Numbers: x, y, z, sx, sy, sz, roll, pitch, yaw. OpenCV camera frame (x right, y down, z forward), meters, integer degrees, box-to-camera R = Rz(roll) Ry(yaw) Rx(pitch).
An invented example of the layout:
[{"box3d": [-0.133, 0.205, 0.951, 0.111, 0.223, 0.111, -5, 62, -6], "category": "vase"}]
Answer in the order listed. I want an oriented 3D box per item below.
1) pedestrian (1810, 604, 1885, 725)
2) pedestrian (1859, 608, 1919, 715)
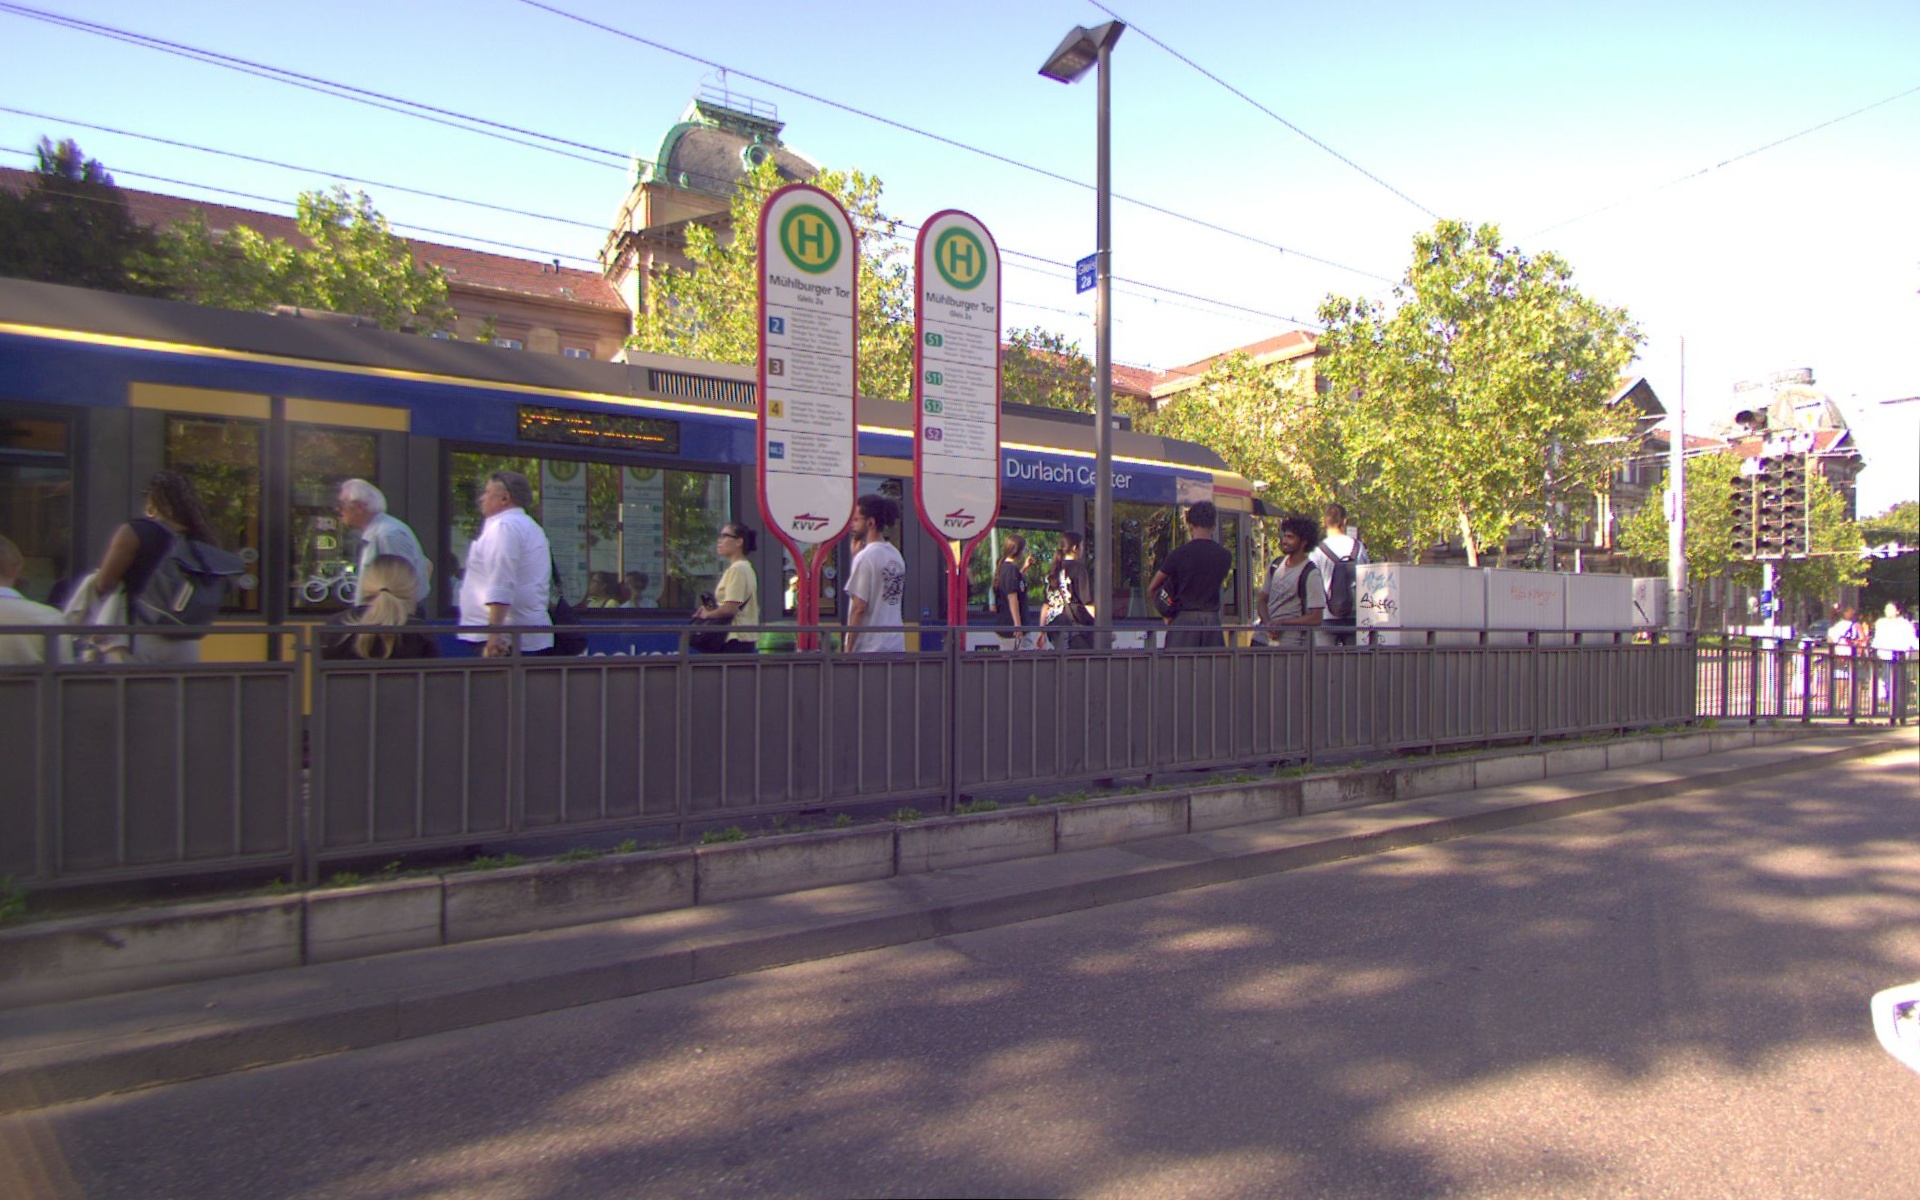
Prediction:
[{"box3d": [11.995, 0.852, 13.575, 0.641, 1.577, 0.626, 1, -1, -36], "category": "pedestrian"}, {"box3d": [14.742, 0.971, 15.900, 0.635, 1.640, 0.635, 4, -3, -35], "category": "pedestrian"}]
